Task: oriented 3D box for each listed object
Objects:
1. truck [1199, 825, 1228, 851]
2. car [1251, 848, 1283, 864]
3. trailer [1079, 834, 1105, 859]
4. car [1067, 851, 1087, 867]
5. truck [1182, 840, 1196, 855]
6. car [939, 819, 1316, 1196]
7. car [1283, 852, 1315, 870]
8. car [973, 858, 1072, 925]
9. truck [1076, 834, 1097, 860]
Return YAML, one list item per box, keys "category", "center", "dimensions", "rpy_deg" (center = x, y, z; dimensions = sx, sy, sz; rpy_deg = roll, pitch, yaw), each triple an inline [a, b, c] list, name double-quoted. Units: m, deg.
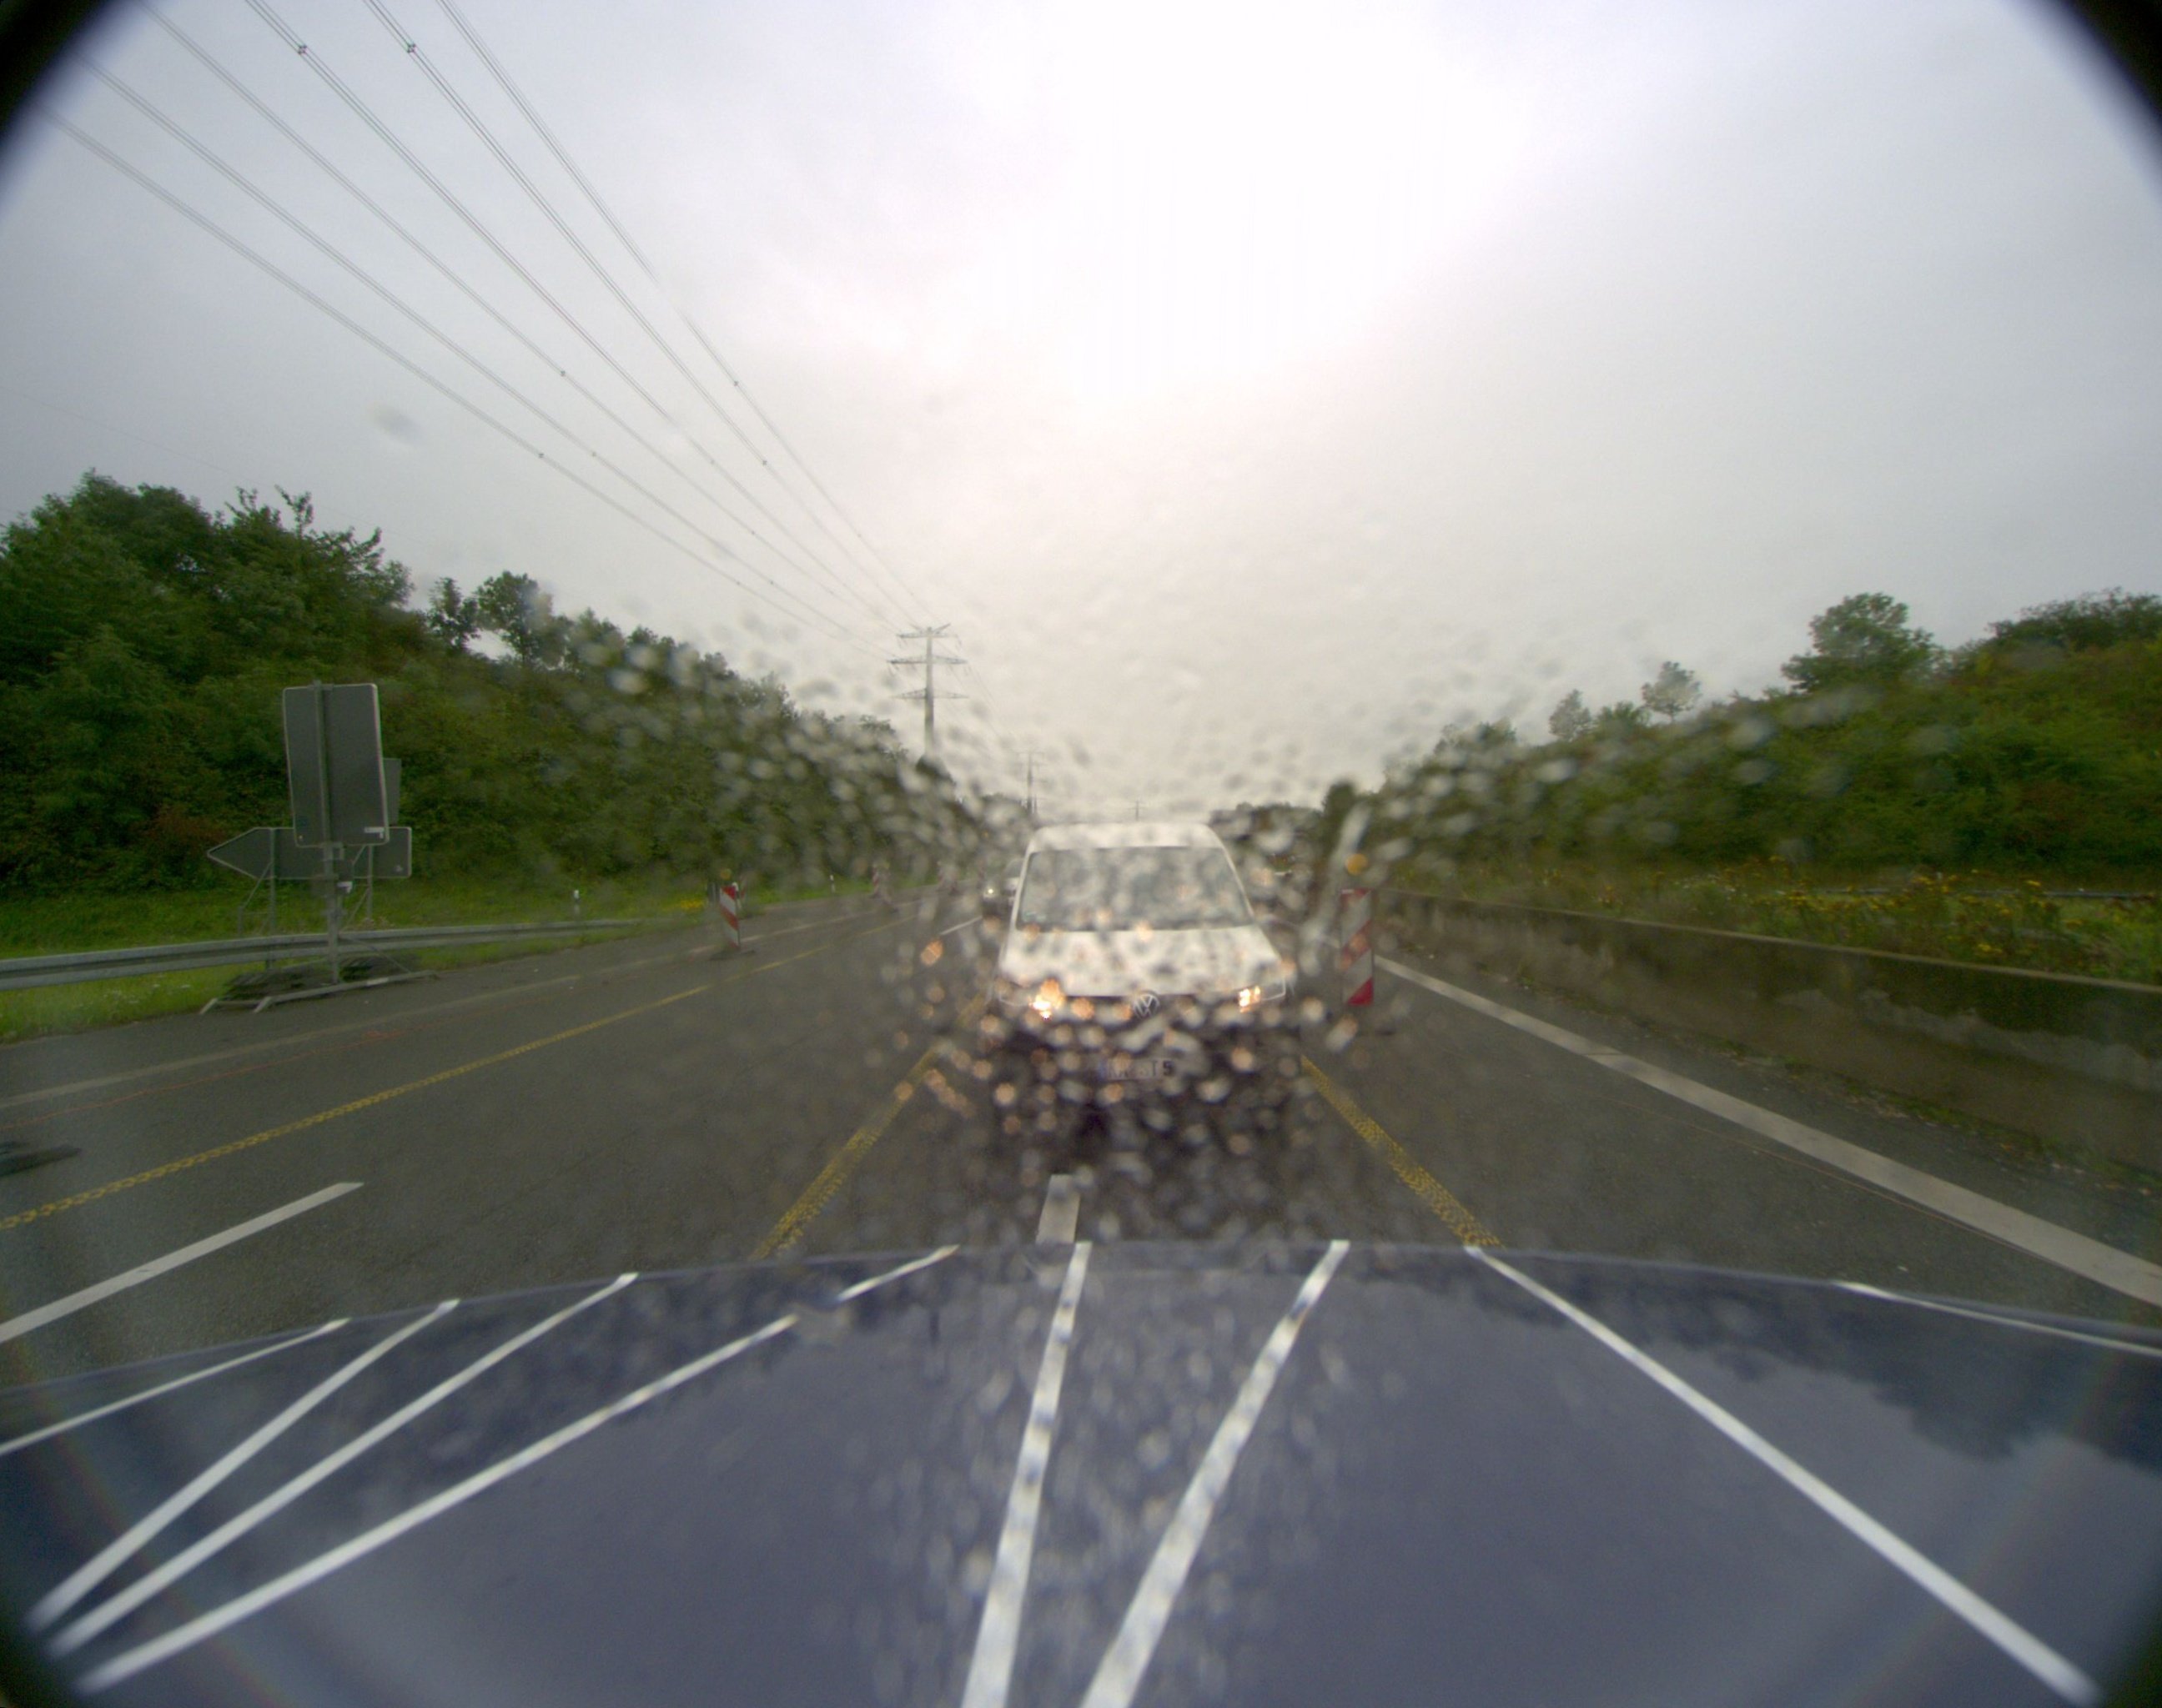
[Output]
- category: "truck"
  center: [25.068, -3.038, 144.683]
  dimensions: [3.414, 4.498, 17.288]
  rpy_deg: [-1, 1, 3]
- category: "car"
  center: [17.649, 0.196, 72.352]
  dimensions: [1.873, 1.534, 4.747]
  rpy_deg: [0, 0, 1]
- category: "trailer"
  center: [1.854, -1.224, 124.043]
  dimensions: [2.524, 3.812, 12.357]
  rpy_deg: [-2, 1, 9]
- category: "car"
  center: [-0.396, 0.538, 84.763]
  dimensions: [2.051, 1.587, 5.801]
  rpy_deg: [-2, 0, 1]
- category: "truck"
  center: [31.188, -1.888, 220.612]
  dimensions: [2.682, 4.221, 12.517]
  rpy_deg: [-2, 1, 2]
- category: "car"
  center: [0.251, 0.747, 6.024]
  dimensions: [1.770, 1.774, 4.647]
  rpy_deg: [-2, 0, 1]
- category: "car"
  center: [21.287, 0.653, 74.270]
  dimensions: [1.998, 1.652, 4.296]
  rpy_deg: [0, 0, 1]
- category: "car"
  center: [-1.437, 0.915, 20.386]
  dimensions: [1.874, 1.526, 4.198]
  rpy_deg: [-1, 0, 6]
- category: "truck"
  center: [0.947, -1.080, 118.852]
  dimensions: [2.552, 3.924, 4.002]
  rpy_deg: [-2, 1, 10]
